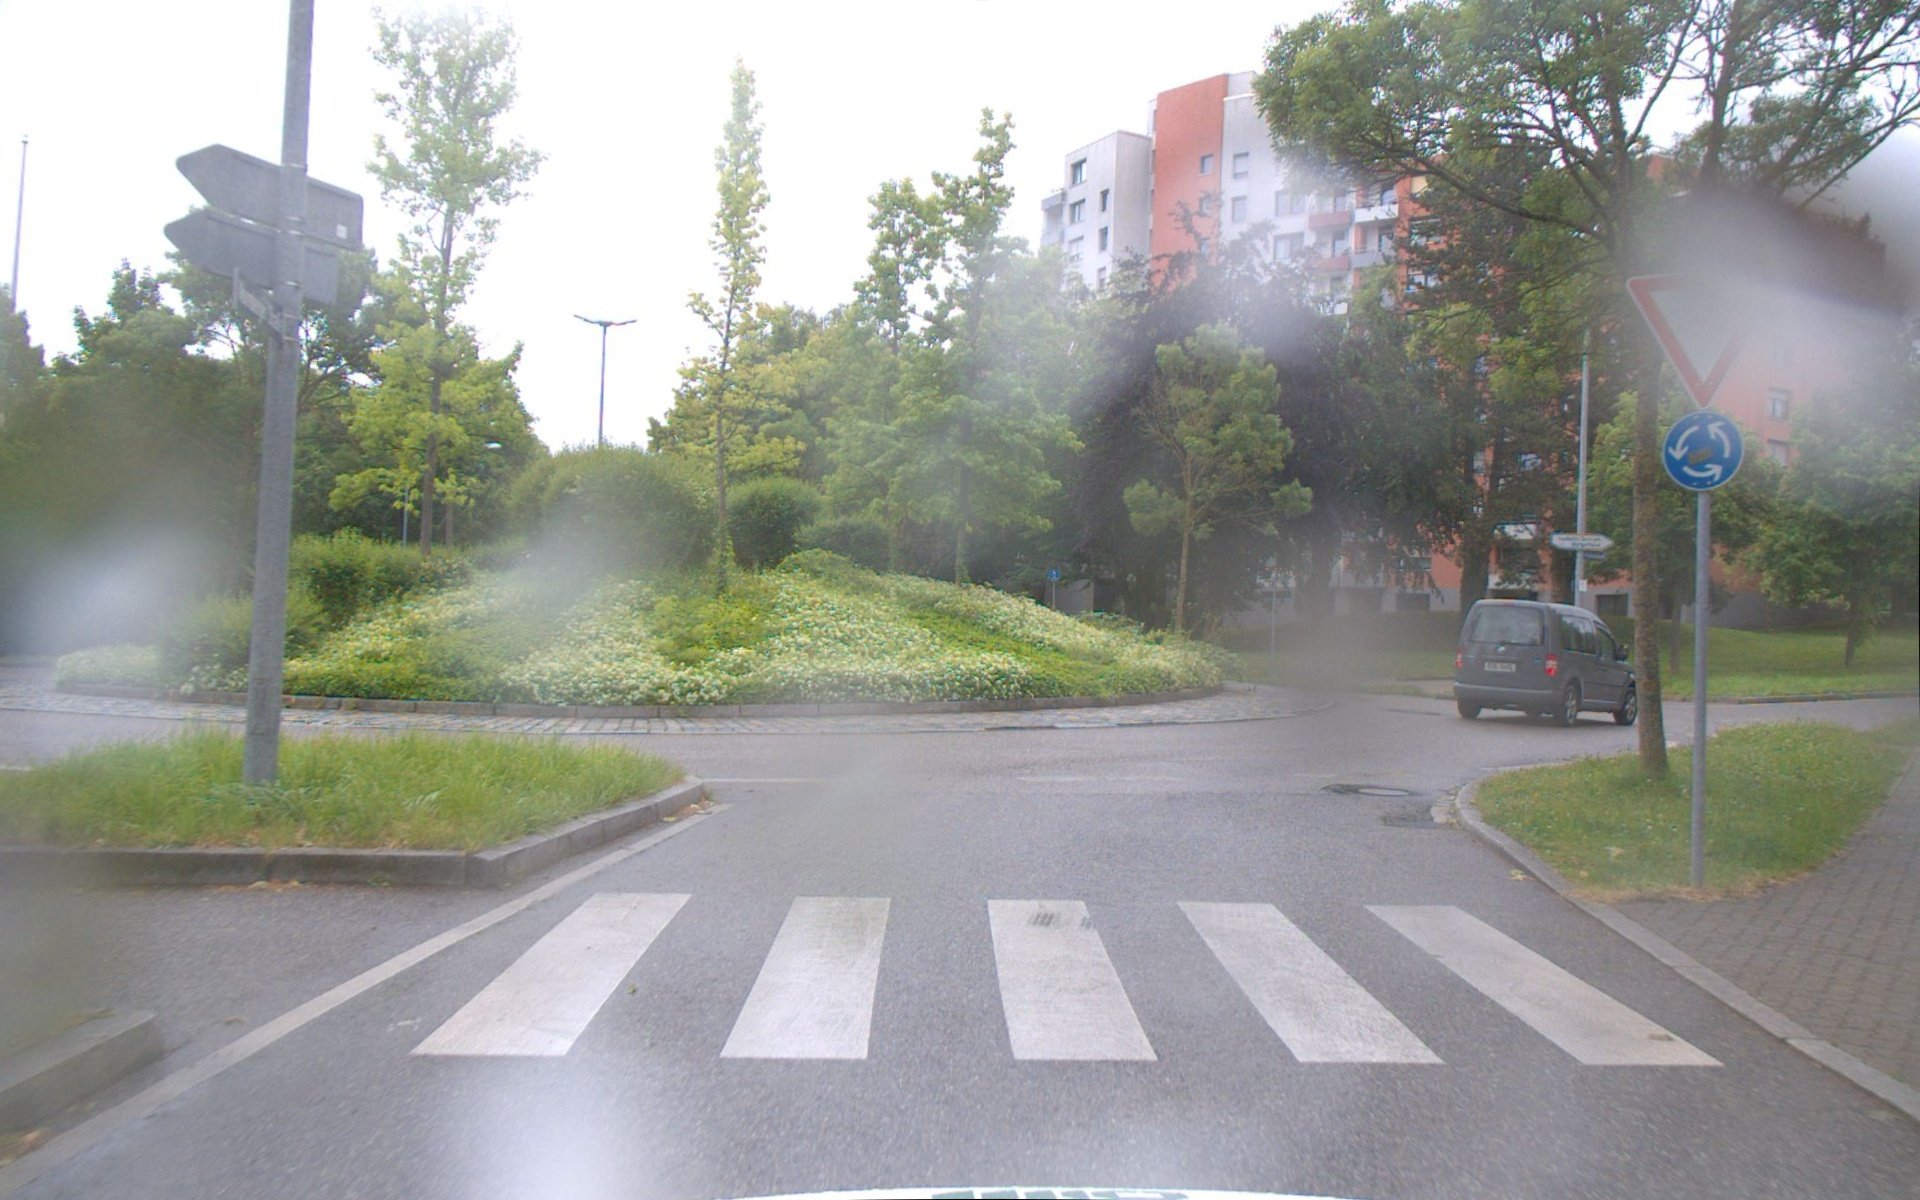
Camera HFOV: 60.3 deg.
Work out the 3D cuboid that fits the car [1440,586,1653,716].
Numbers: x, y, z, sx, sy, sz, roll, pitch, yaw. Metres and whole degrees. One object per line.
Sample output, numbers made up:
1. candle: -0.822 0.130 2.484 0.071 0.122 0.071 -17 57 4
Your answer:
1. car: 9.291 0.792 26.056 1.890 1.832 3.769 3 0 40
